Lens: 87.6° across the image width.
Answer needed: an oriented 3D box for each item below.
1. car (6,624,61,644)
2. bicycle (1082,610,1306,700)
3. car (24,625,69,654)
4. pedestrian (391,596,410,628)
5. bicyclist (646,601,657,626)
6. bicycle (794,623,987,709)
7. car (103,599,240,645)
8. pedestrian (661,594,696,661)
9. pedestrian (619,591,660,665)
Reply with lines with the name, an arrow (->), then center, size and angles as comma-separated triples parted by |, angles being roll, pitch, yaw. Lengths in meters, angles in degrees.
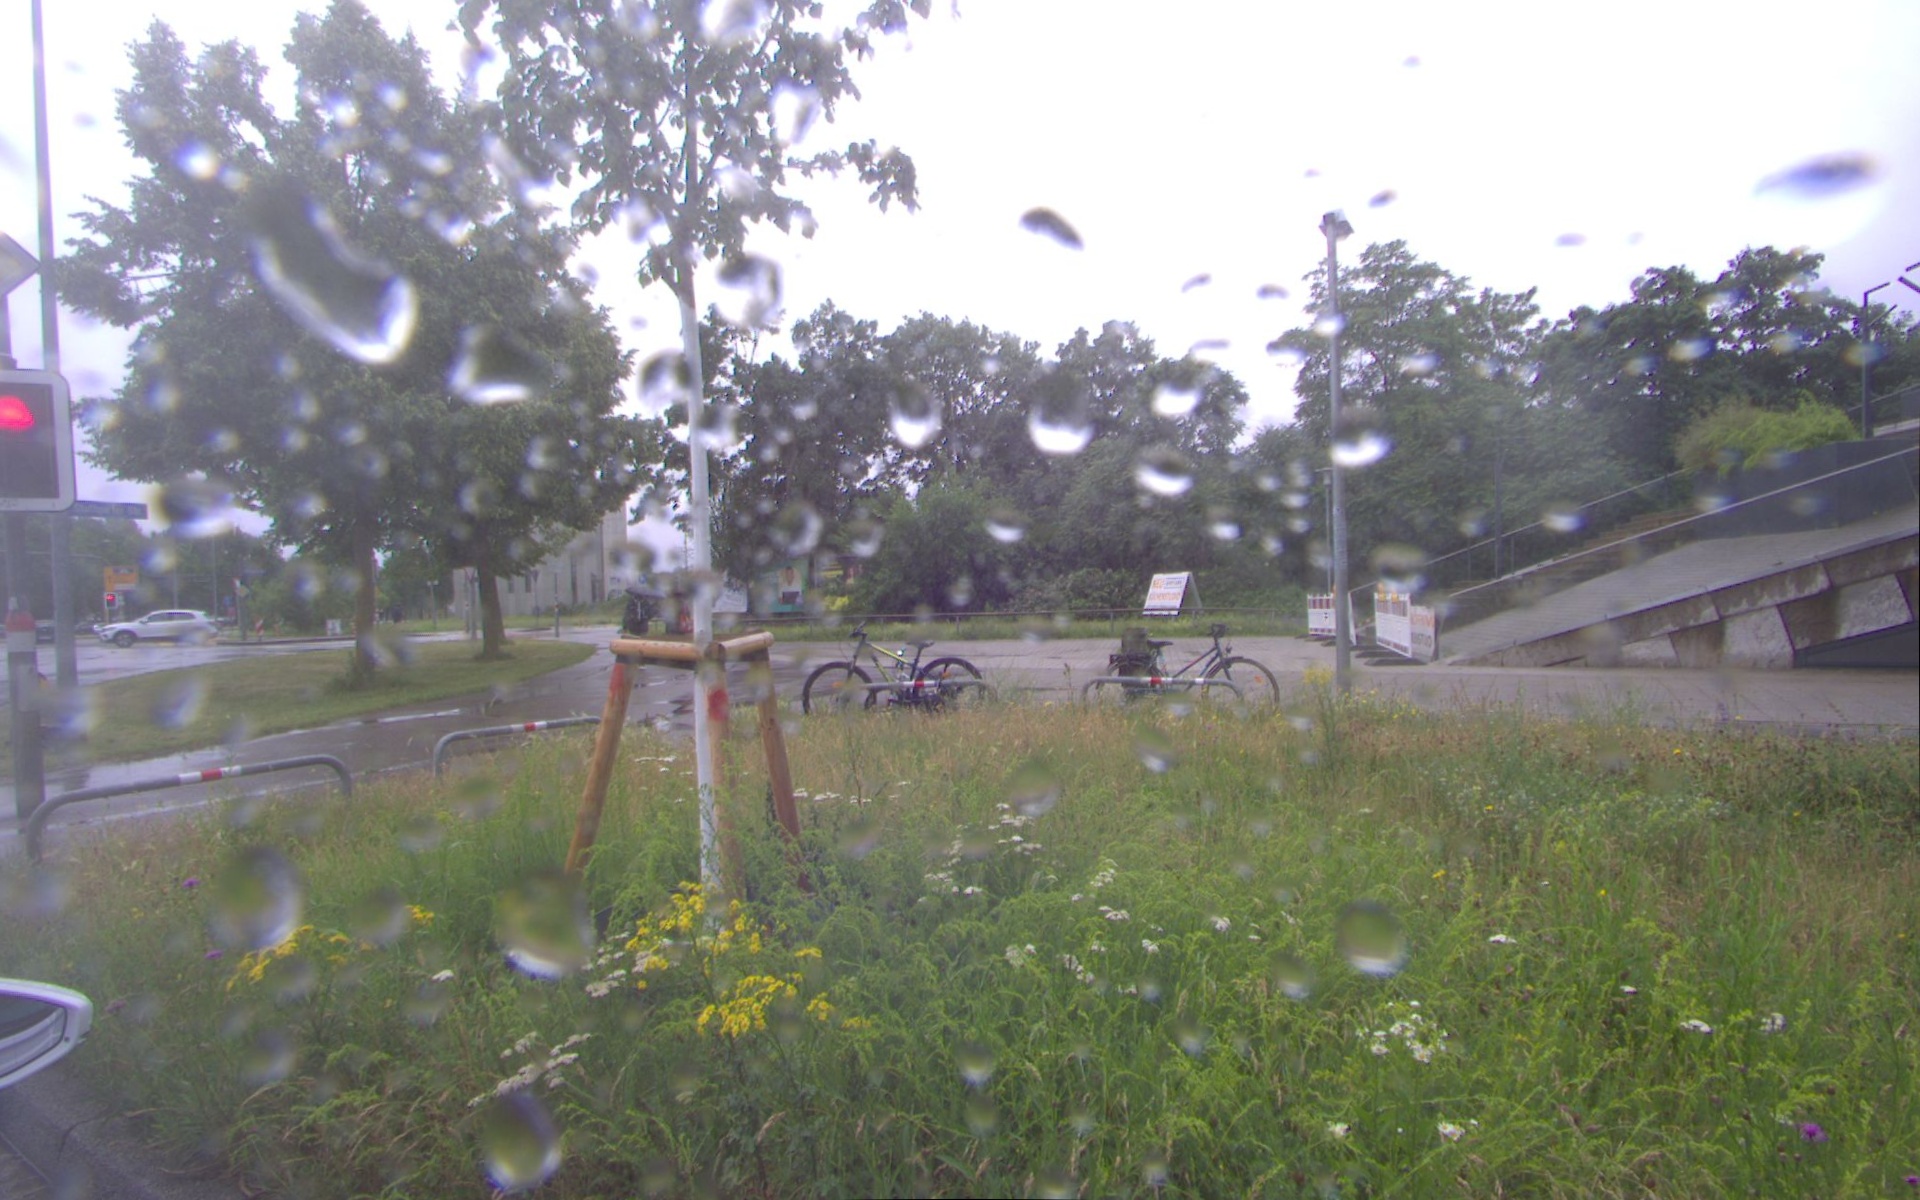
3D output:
car -> -79.041, 2.924, 85.496 | 1.770, 1.683, 3.995 | 0, -2, -16
bicycle -> 2.149, 0.512, 9.299 | 1.972, 0.796, 0.454 | -1, -2, 16
car -> -49.985, 2.128, 54.776 | 3.947, 1.473, 1.608 | -1, 0, 45
pedestrian -> -33.875, 0.719, 60.646 | 0.660, 1.892, 0.813 | -2, -2, 40
bicyclist -> -22.227, 0.955, 72.182 | 0.491, 1.764, 0.586 | -2, -2, 44
bicycle -> -0.664, 0.629, 9.676 | 1.823, 0.796, 0.380 | 0, -2, -2
car -> -35.385, 0.951, 45.001 | 4.724, 1.876, 1.982 | -1, 0, -41
pedestrian -> -6.388, 0.622, 22.727 | 0.562, 1.480, 0.682 | -2, 1, -3
pedestrian -> -6.850, 0.597, 21.429 | 0.727, 1.542, 0.623 | 0, -1, -5
